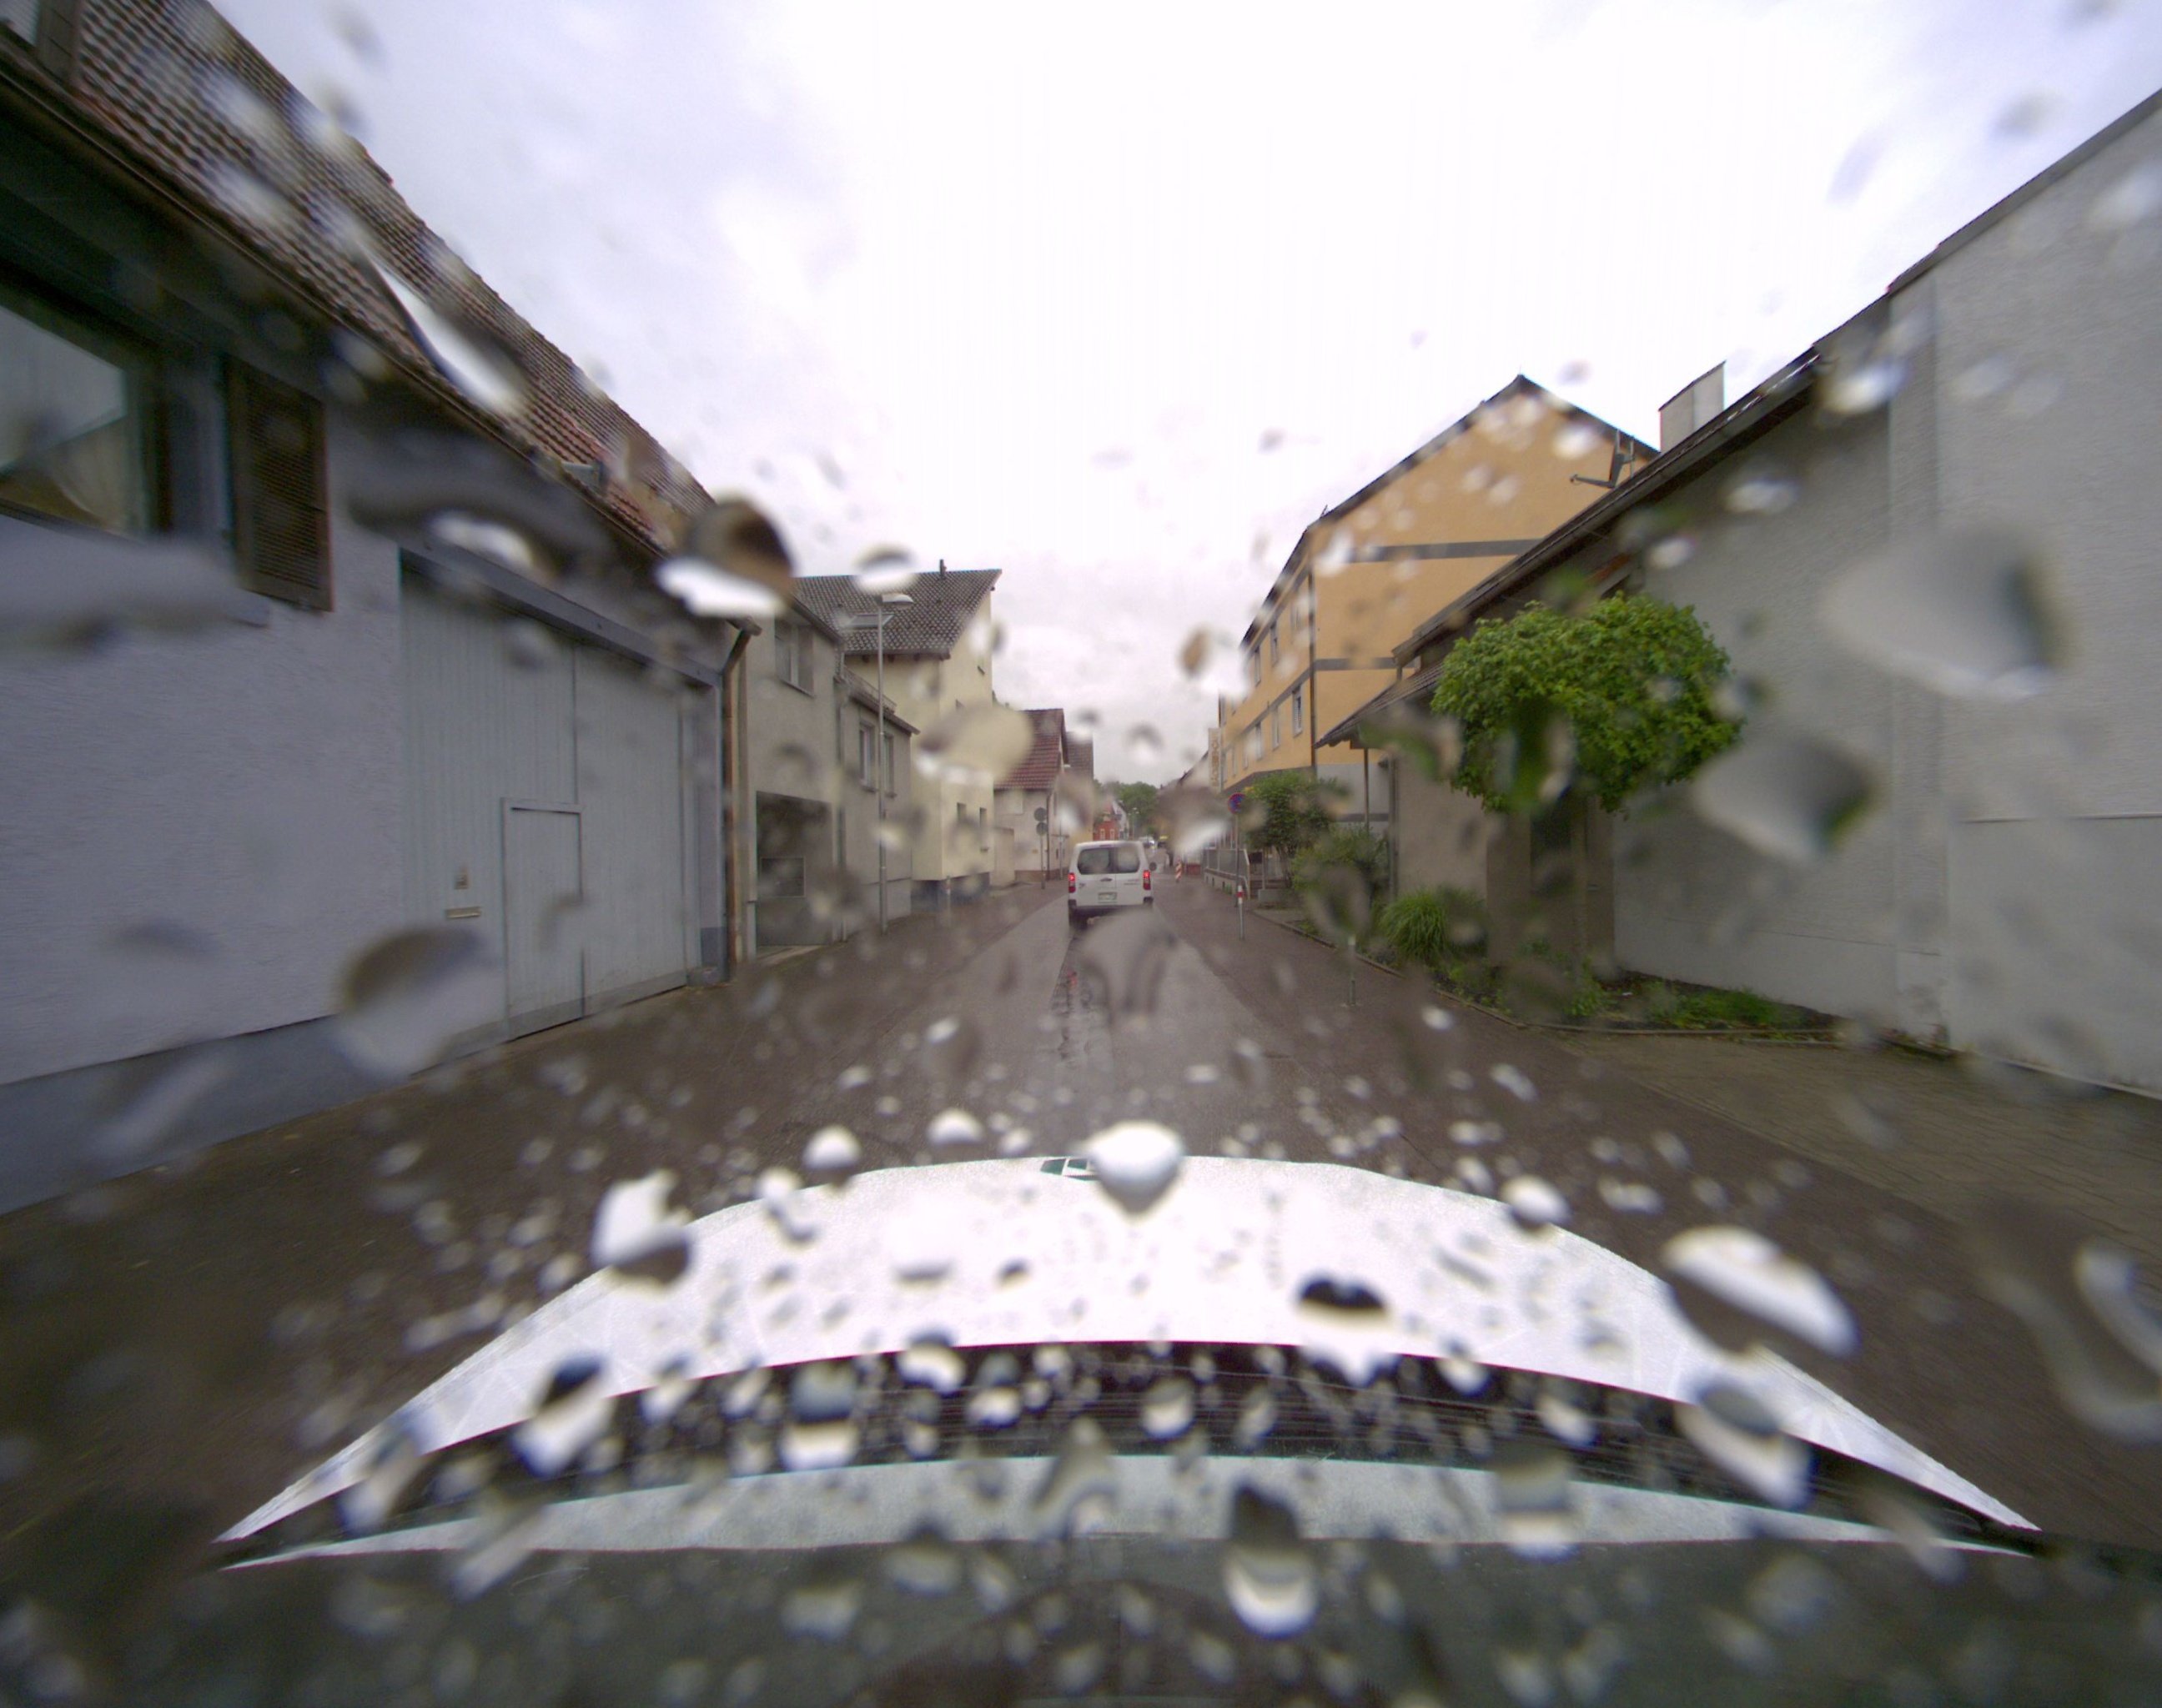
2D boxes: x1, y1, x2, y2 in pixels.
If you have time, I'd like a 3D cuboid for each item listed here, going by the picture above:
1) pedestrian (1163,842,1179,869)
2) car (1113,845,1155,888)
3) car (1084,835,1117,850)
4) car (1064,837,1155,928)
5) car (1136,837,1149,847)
[{"bbox_3d":[6.644,0.097,60.037,1.047,1.892,0.877,-2,-1,1],"label":"pedestrian"},{"bbox_3d":[2.808,0.619,42.338,1.984,2.013,4.006,-2,0,5],"label":"car"},{"bbox_3d":[2.343,-1.389,99.003,3.434,1.559,1.986,-5,2,-22],"label":"car"},{"bbox_3d":[0.712,0.577,18.409,1.767,1.780,4.004,-2,0,4],"label":"car"},{"bbox_3d":[9.307,-1.842,123.384,1.579,1.441,3.775,0,0,9],"label":"car"}]
